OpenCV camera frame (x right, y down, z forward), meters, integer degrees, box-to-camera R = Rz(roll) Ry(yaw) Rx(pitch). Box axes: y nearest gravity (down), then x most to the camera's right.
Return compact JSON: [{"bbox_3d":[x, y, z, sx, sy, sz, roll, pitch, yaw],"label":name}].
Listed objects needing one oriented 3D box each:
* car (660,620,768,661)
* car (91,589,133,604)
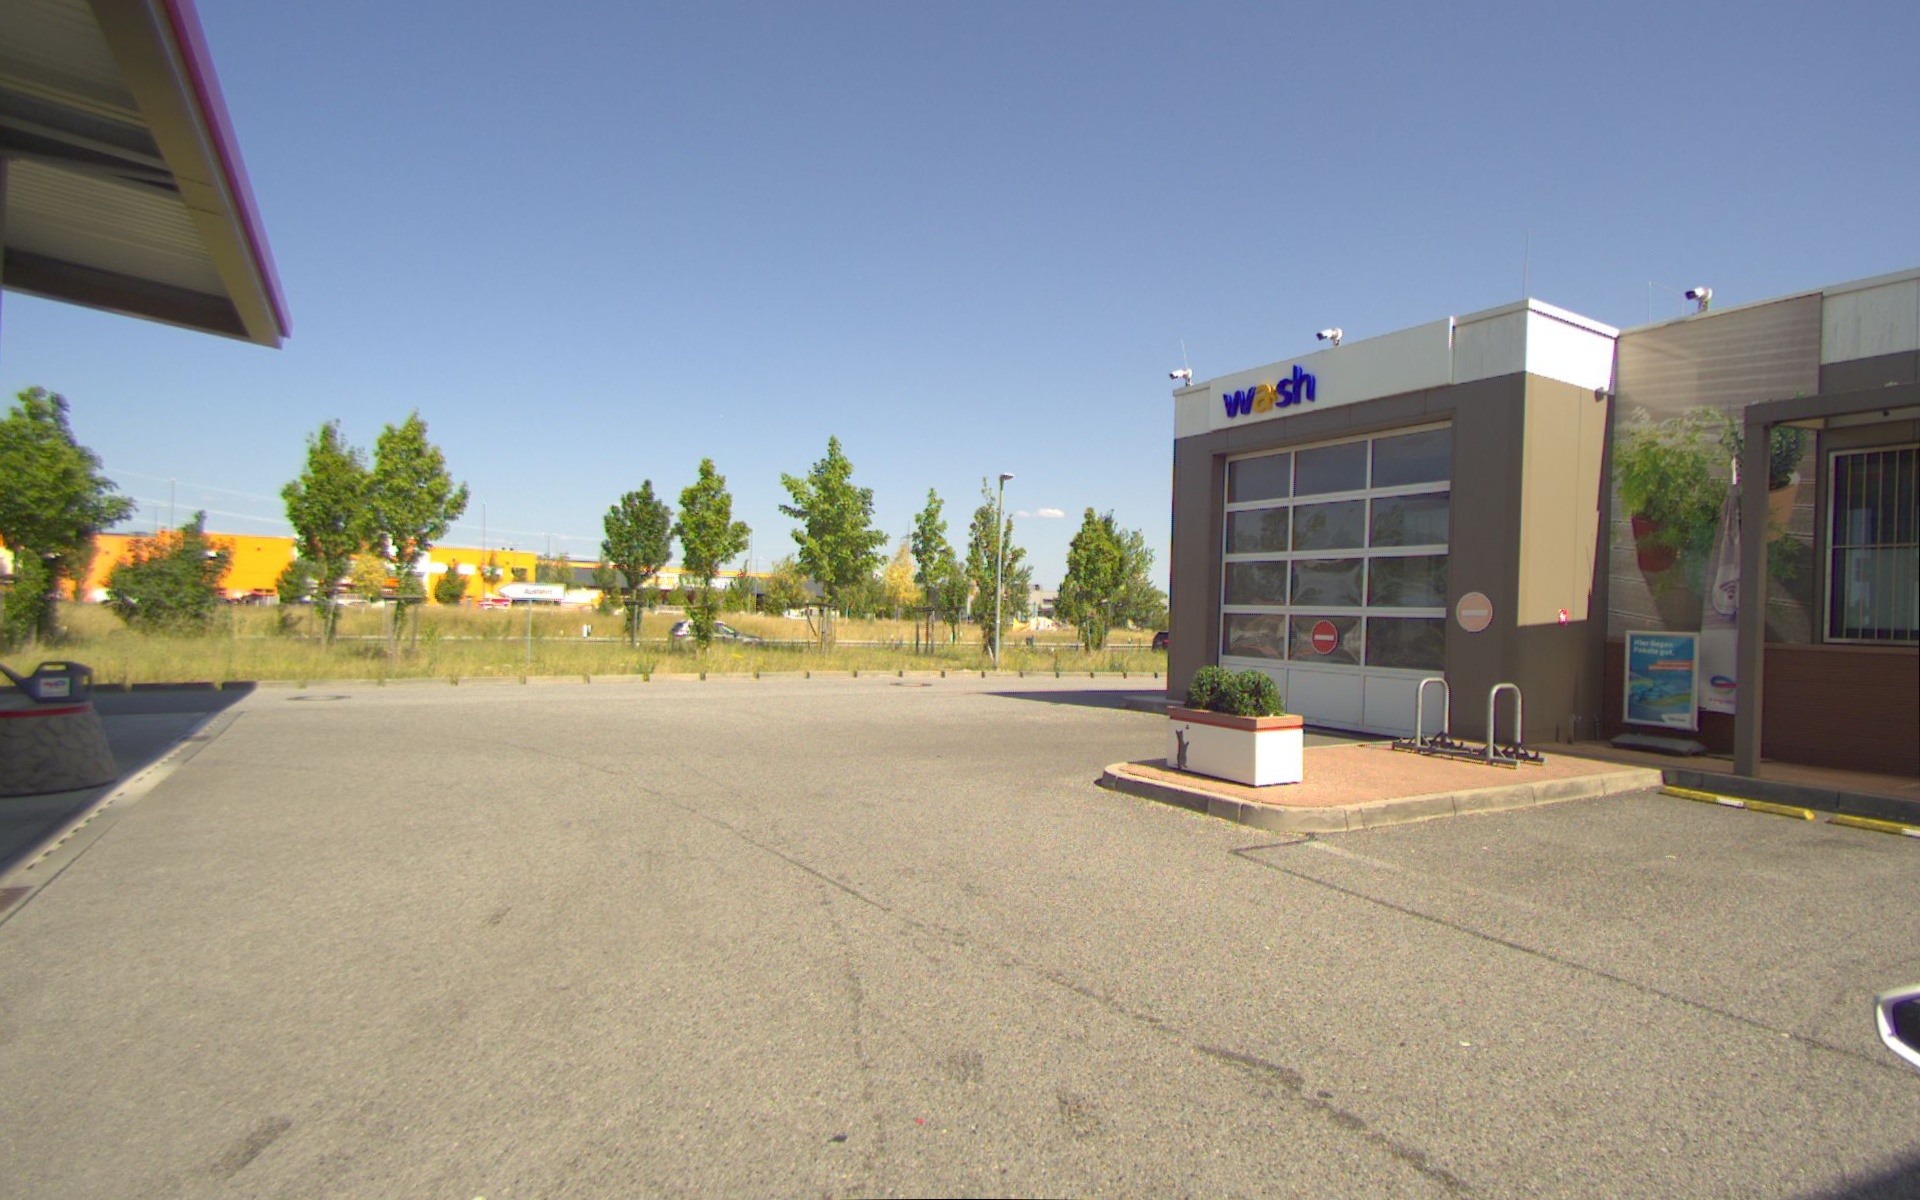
[{"bbox_3d":[-11.440,1.879,46.802,4.529,1.774,1.775,2,-1,-32],"label":"car"},{"bbox_3d":[-83.411,-0.348,98.818,2.910,1.316,1.475,2,-1,-29],"label":"car"}]
